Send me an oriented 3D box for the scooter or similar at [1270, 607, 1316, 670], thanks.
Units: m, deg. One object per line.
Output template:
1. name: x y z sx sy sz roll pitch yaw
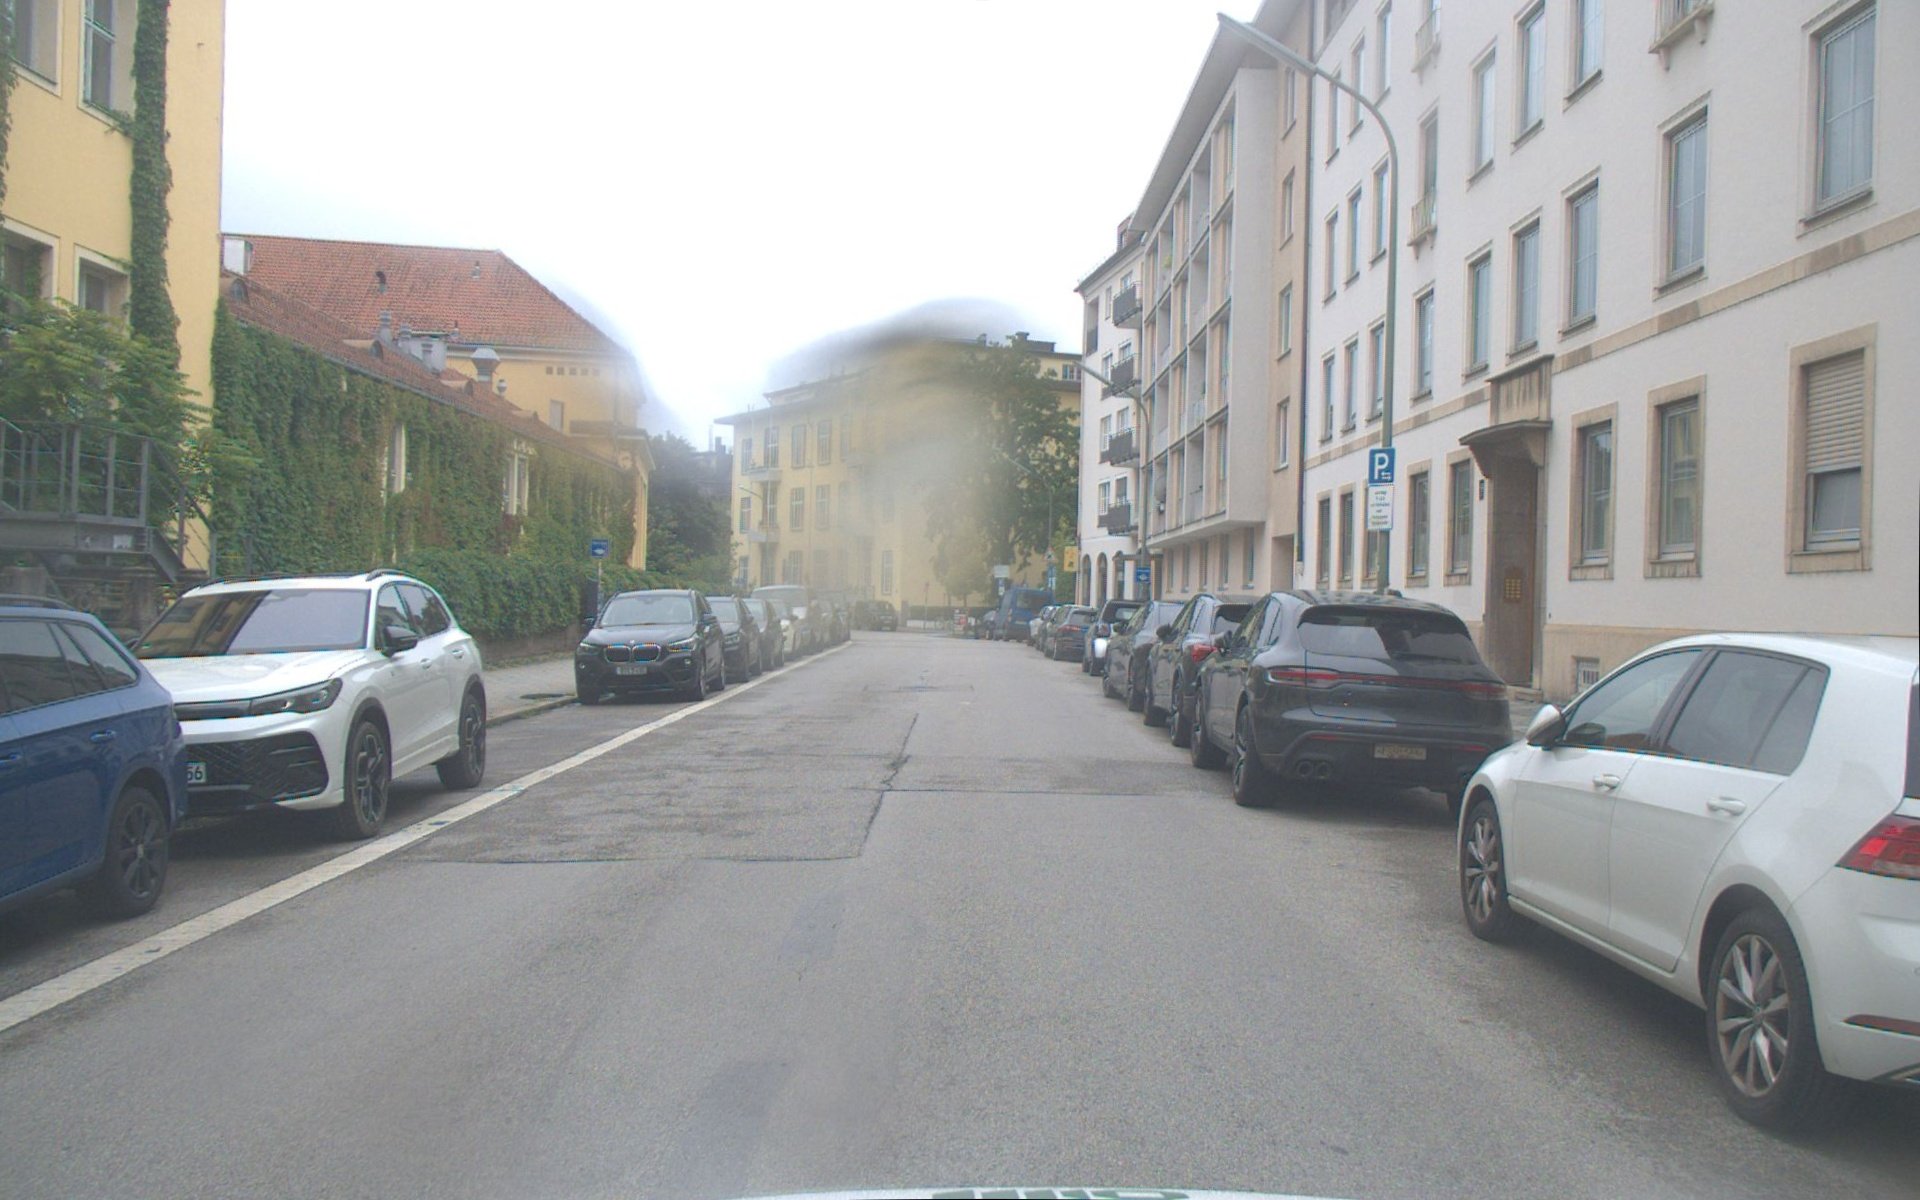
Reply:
1. scooter or similar: 7.491 0.885 37.220 0.431 1.382 1.585 2 -3 -11

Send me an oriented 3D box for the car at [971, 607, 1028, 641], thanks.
1. car: 1.838 1.123 77.976 1.648 1.413 4.292 6 -1 -12

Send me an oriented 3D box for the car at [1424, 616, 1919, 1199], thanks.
1. car: 3.247 0.845 6.312 1.638 1.454 4.530 3 0 0

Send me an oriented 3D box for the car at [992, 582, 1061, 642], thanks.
1. car: 2.829 0.562 71.845 2.040 2.272 5.236 6 -3 -6

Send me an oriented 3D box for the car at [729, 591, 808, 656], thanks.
1. car: -4.619 0.557 40.360 1.559 1.466 4.017 -1 0 -2

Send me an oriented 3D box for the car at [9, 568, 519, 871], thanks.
1. car: -4.477 0.656 11.550 1.711 1.662 4.853 0 0 -3

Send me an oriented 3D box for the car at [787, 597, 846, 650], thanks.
1. car: -4.822 0.769 56.116 1.663 1.672 4.489 -1 0 -1

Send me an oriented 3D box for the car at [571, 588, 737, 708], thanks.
1. car: -4.530 0.666 25.175 1.753 1.614 4.816 -1 0 -2

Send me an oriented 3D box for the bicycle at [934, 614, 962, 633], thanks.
1. bicycle: -0.786 1.554 109.303 1.890 1.222 0.593 2 -1 37

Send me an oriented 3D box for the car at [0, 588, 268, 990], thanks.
1. car: -4.522 0.774 6.582 1.669 1.528 4.493 -4 0 -2

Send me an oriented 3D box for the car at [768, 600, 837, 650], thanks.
1. car: -4.829 0.755 51.357 1.619 1.439 4.770 -2 0 0

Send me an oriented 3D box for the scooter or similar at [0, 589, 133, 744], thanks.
1. scooter or similar: -8.549 0.602 15.777 0.548 1.393 1.501 1 0 0

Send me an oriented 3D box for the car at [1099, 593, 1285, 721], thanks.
1. car: 3.184 0.736 23.749 1.766 1.510 5.318 4 0 -1

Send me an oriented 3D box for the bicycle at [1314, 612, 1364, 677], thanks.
1. bicycle: 7.505 0.864 32.823 0.519 1.239 2.103 2 0 1

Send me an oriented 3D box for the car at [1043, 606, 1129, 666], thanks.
1. car: 3.350 0.934 44.849 1.710 1.412 4.951 3 0 -2

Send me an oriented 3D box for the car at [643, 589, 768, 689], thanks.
1. car: -4.529 0.661 30.032 1.689 1.658 4.464 -1 0 -2

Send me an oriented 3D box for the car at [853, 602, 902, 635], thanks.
1. car: -5.416 1.204 108.313 1.738 1.907 4.350 6 -1 -22

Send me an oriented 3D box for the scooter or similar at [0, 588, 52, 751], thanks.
1. scooter or similar: -8.513 0.594 14.226 0.548 1.393 1.501 1 0 0

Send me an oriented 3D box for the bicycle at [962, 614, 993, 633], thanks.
1. bicycle: 1.145 1.541 108.116 1.881 1.222 0.596 2 0 13

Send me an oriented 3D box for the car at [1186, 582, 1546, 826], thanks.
1. car: 3.051 0.711 13.478 1.802 1.548 4.709 3 0 1

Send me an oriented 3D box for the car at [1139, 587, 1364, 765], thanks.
1. car: 3.095 0.750 18.441 1.612 1.617 4.634 4 0 0

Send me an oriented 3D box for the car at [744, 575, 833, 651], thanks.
1. car: -4.691 0.355 45.741 1.848 1.923 4.774 -1 0 1

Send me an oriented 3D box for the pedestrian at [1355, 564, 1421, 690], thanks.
1. pedestrian: 6.279 0.400 24.303 0.708 1.794 0.904 2 -2 1

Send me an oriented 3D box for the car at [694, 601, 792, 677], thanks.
1. car: -4.542 0.794 35.105 1.571 1.455 4.250 -2 0 -1

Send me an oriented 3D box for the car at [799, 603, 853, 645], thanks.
1. car: -4.937 0.871 61.420 1.660 1.417 4.499 -3 0 -1

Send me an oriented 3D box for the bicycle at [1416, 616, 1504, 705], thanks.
1. bicycle: 7.511 0.890 24.920 0.503 1.243 1.986 1 0 -7

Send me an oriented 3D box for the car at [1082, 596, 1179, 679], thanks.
1. car: 3.462 0.742 34.056 1.616 1.521 2.881 4 0 0
